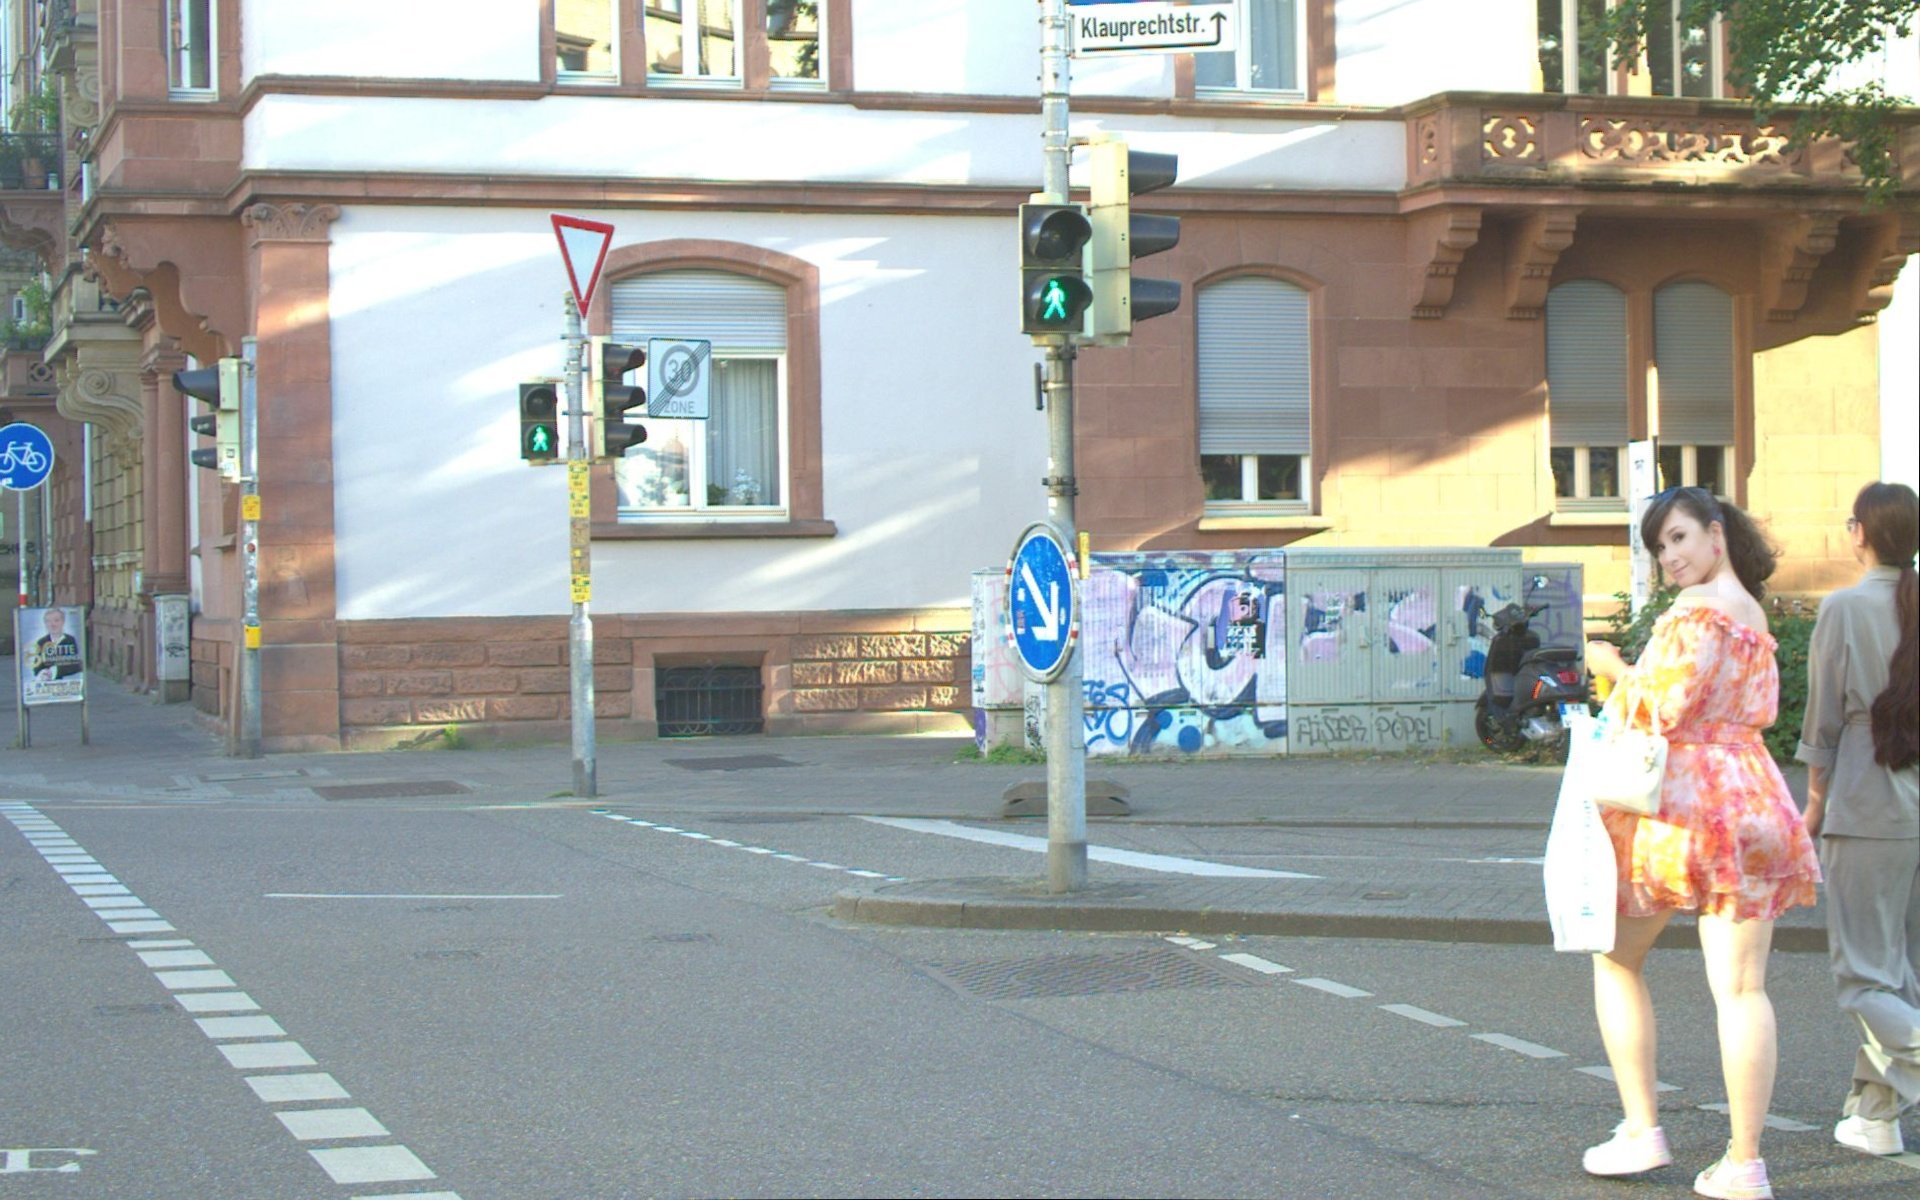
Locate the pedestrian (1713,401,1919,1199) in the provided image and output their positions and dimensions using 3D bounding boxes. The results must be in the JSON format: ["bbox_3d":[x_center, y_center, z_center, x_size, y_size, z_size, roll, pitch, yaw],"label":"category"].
[{"bbox_3d":[2.343,0.482,8.468,0.690,1.902,0.670,-1,-1,-12],"label":"pedestrian"}]

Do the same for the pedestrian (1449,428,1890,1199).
[{"bbox_3d":[1.696,0.511,8.329,0.805,1.794,0.761,3,1,-2],"label":"pedestrian"}]

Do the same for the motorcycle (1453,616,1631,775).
[{"bbox_3d":[4.335,0.687,25.758,0.719,1.016,2.287,-1,3,-6],"label":"motorcycle"}]
